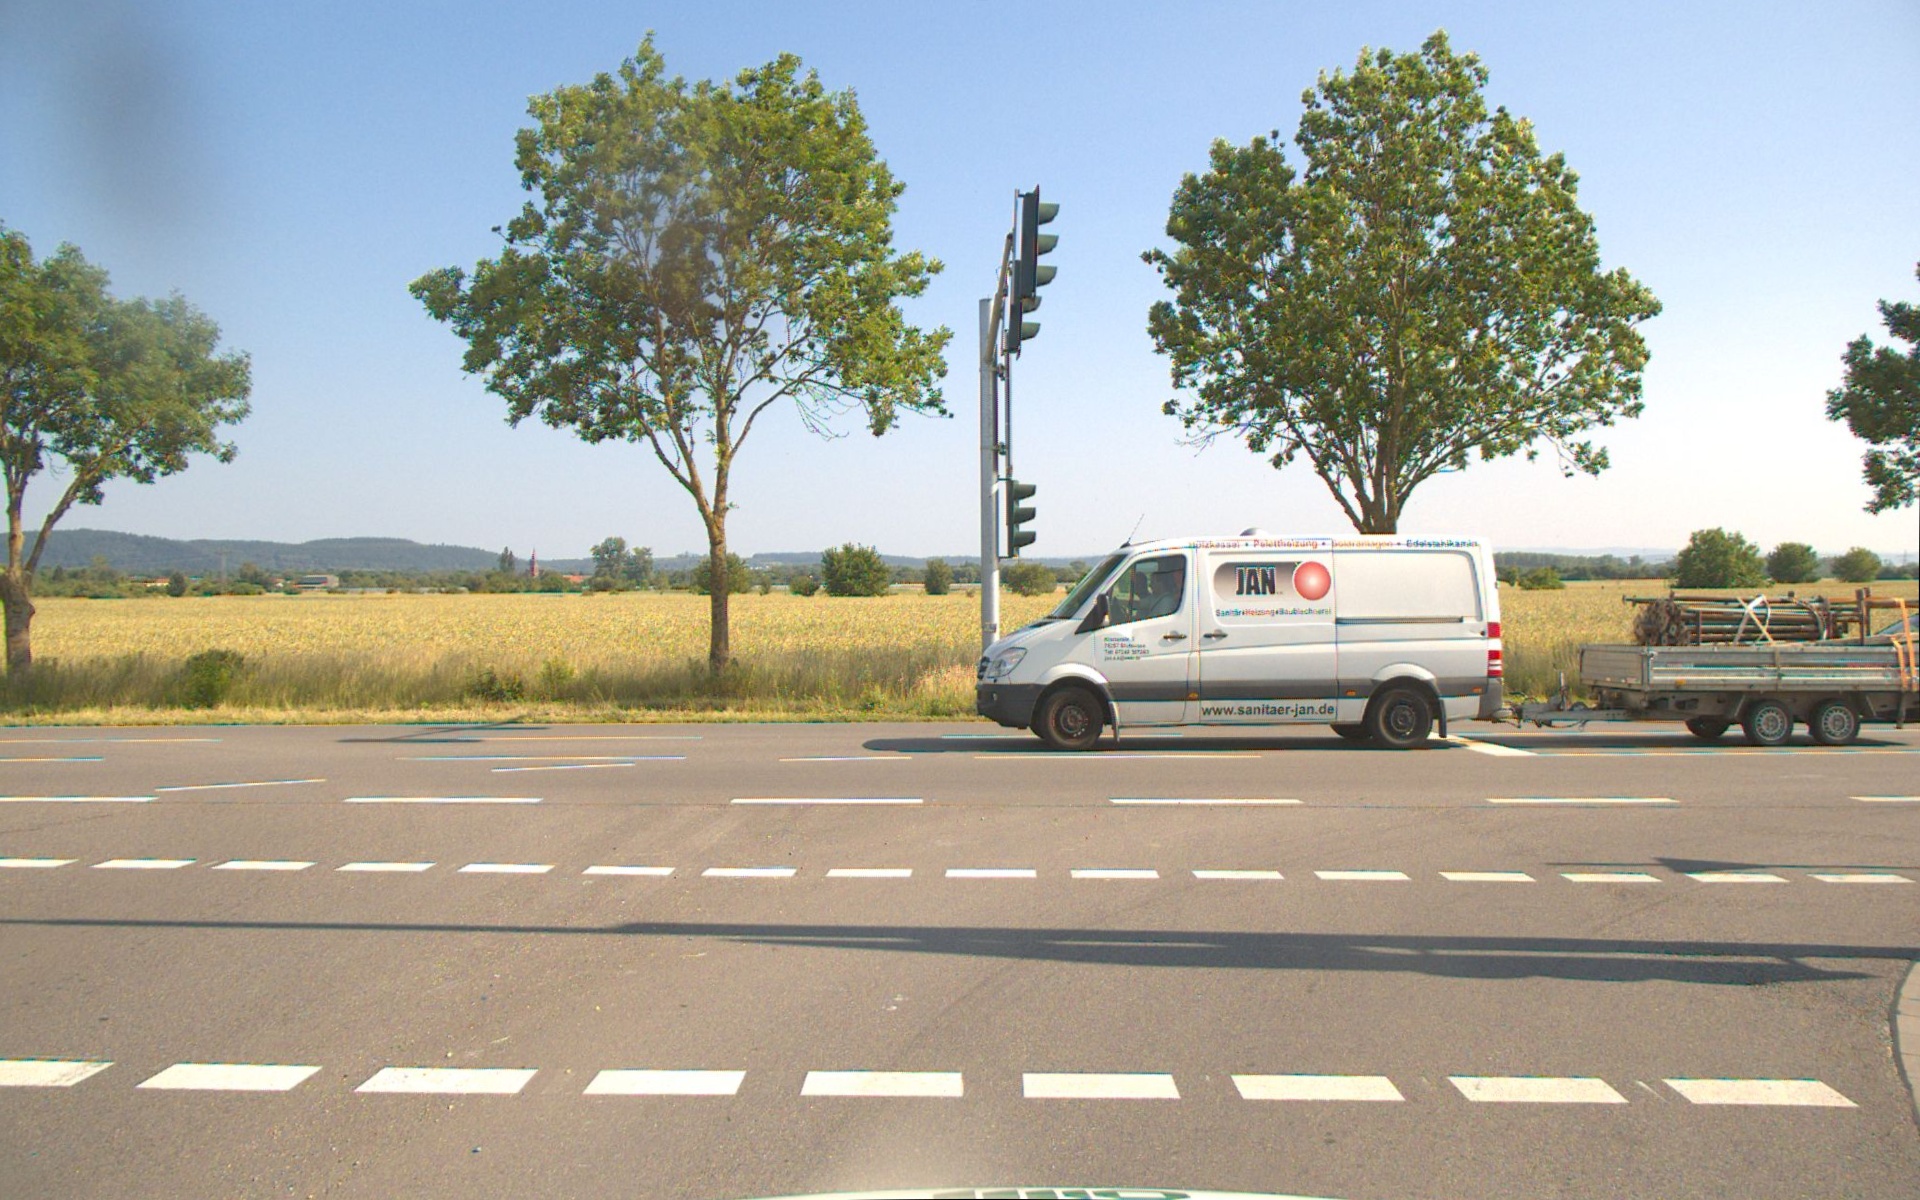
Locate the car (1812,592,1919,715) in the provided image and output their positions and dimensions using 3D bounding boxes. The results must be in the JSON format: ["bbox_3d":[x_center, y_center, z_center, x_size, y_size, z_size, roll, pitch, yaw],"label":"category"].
[{"bbox_3d":[14.537,0.742,23.465,3.907,1.654,1.889,0,-2,-3],"label":"car"}]

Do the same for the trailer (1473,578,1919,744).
[{"bbox_3d":[8.639,0.668,18.946,4.893,1.768,1.980,0,-1,-1],"label":"trailer"}]

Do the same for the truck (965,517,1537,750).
[{"bbox_3d":[3.131,0.357,18.668,6.054,2.447,2.070,0,-1,-3],"label":"truck"}]
